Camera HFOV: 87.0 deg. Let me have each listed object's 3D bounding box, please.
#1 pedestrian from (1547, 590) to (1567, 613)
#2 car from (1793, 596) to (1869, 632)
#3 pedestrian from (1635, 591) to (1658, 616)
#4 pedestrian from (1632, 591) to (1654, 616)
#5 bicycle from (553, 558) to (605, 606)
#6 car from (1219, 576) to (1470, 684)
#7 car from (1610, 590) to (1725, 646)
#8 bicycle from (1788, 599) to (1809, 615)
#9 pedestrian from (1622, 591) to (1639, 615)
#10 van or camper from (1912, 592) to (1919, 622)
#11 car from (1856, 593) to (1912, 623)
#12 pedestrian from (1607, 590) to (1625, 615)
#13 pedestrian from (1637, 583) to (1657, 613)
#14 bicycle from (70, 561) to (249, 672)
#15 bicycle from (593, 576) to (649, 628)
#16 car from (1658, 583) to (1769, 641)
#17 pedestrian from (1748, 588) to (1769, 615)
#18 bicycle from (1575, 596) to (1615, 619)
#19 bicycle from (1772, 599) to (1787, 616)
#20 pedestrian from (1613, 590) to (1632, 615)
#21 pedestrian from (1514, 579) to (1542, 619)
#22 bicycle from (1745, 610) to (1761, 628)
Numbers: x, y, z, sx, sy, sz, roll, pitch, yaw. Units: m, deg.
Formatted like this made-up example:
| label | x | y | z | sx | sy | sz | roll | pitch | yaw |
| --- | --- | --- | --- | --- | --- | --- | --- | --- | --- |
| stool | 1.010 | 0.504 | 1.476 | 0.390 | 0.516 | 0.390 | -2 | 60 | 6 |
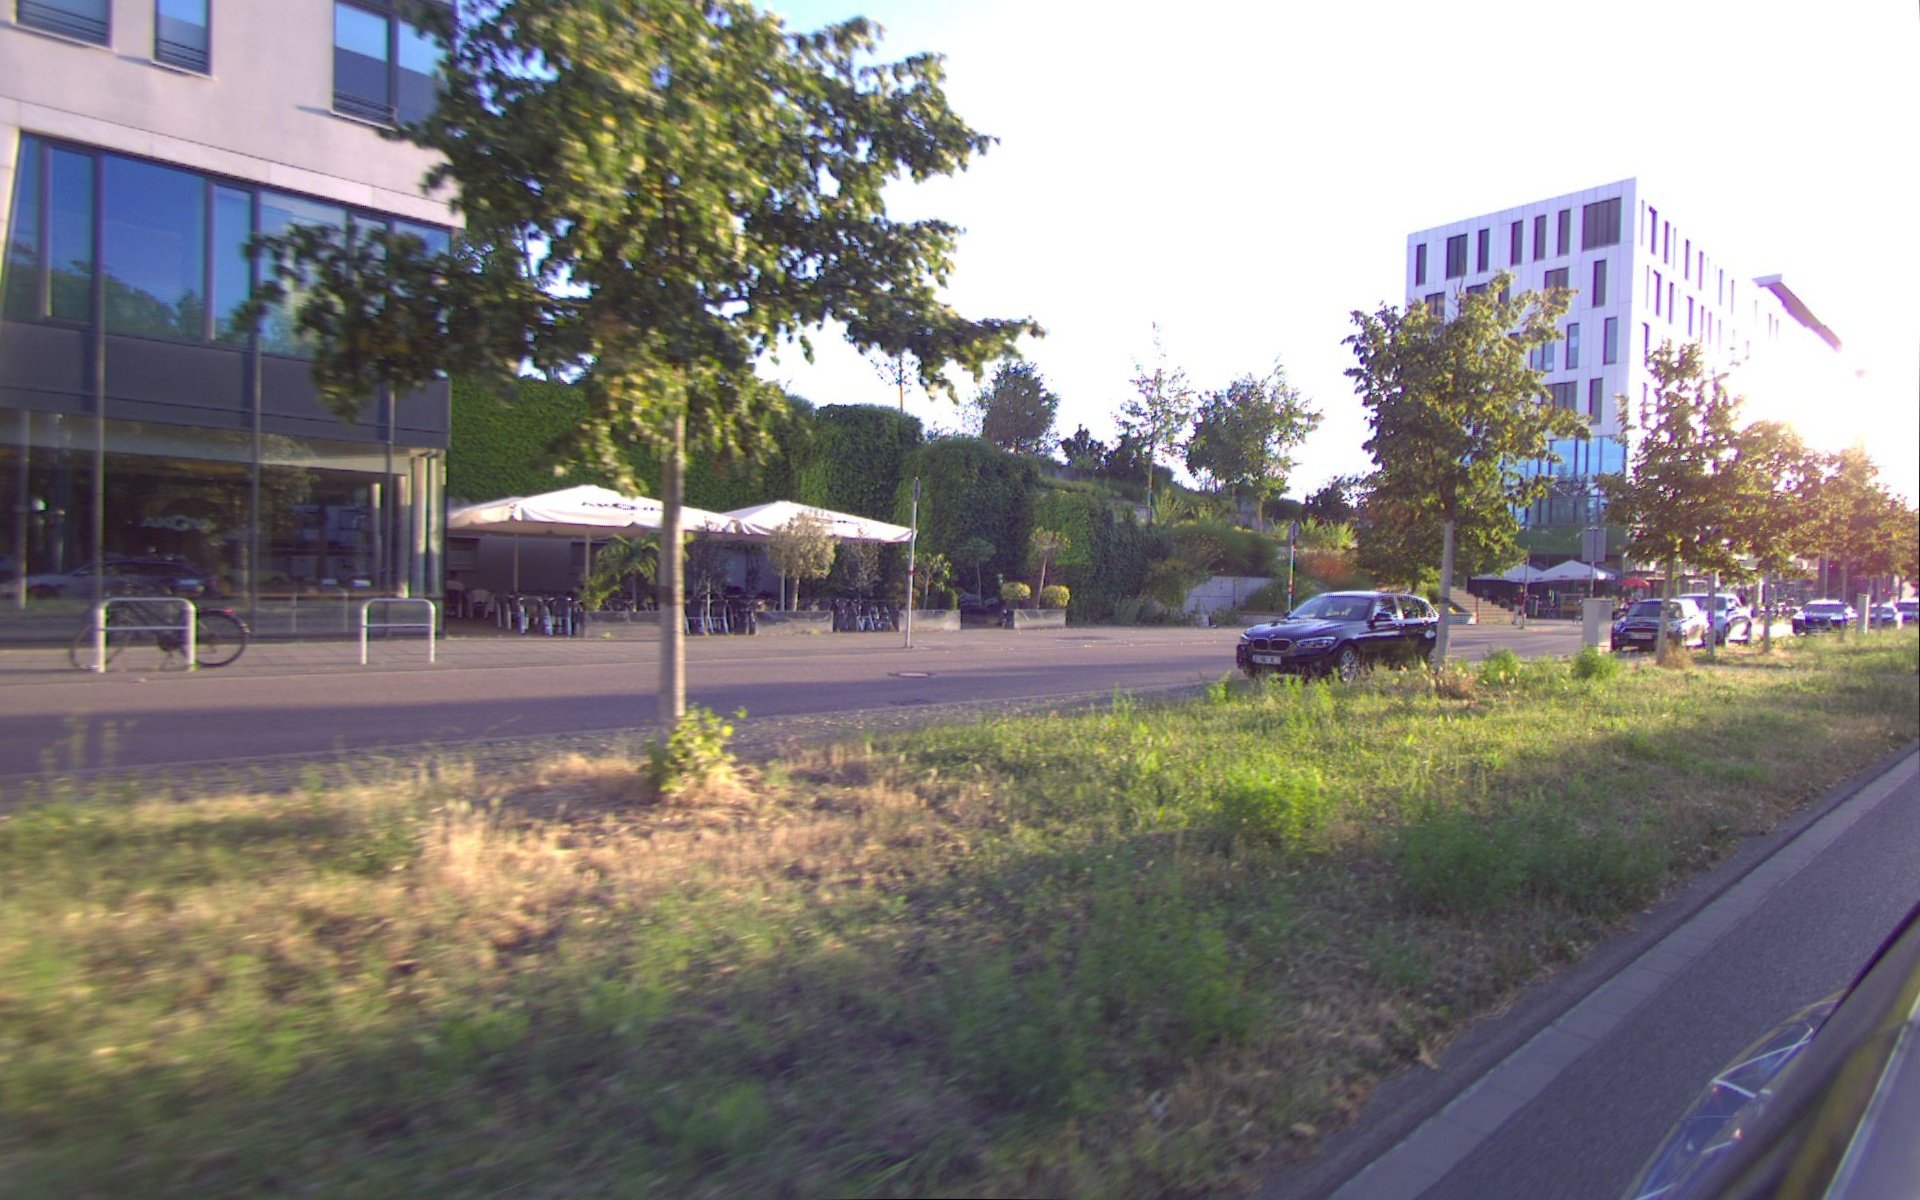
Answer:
| label | x | y | z | sx | sy | sz | roll | pitch | yaw |
| --- | --- | --- | --- | --- | --- | --- | --- | --- | --- |
| pedestrian | 33.977 | 0.082 | 57.576 | 0.757 | 1.281 | 0.744 | 1 | 1 | -40 |
| car | 39.636 | 0.615 | 45.997 | 5.317 | 1.519 | 1.923 | 0 | 1 | -42 |
| pedestrian | 38.100 | 0.197 | 56.173 | 0.671 | 1.306 | 0.778 | 1 | 3 | -34 |
| pedestrian | 37.560 | 0.186 | 55.660 | 0.671 | 1.306 | 0.783 | 1 | 3 | -34 |
| bicycle | -9.263 | -0.439 | 24.572 | 0.492 | 1.121 | 1.796 | 0 | 2 | -44 |
| car | 6.256 | 0.427 | 16.282 | 4.288 | 1.520 | 1.813 | 0 | 0 | -38 |
| car | 19.585 | 0.458 | 27.966 | 3.931 | 1.416 | 1.752 | 0 | 0 | -42 |
| bicycle | 60.823 | 0.501 | 73.409 | 1.879 | 1.053 | 0.532 | 2 | 2 | -30 |
| pedestrian | 37.652 | 0.151 | 56.822 | 0.681 | 1.306 | 0.621 | 4 | 3 | 36 |
| van or camper | 63.924 | 0.476 | 66.170 | 4.744 | 1.944 | 1.962 | 0 | -1 | -41 |
| car | 50.489 | 0.437 | 55.281 | 4.401 | 1.519 | 1.811 | 0 | 1 | -42 |
| pedestrian | 36.139 | 0.140 | 55.729 | 0.741 | 1.385 | 0.760 | 2 | 1 | 38 |
| pedestrian | 41.965 | -0.133 | 61.792 | 0.670 | 1.781 | 0.664 | 2 | 2 | -23 |
| bicycle | -9.563 | 0.175 | 12.128 | 1.642 | 1.246 | 0.618 | 0 | 1 | -43 |
| bicycle | -7.794 | 0.028 | 23.210 | 0.492 | 1.121 | 1.796 | 0 | 2 | -44 |
| car | 23.264 | 0.391 | 31.169 | 4.595 | 1.653 | 1.810 | 0 | -2 | -42 |
| pedestrian | 57.531 | 0.136 | 72.915 | 0.931 | 1.906 | 1.028 | 1 | 1 | -42 |
| bicycle | 29.587 | 0.344 | 47.156 | 1.872 | 1.056 | 0.546 | 1 | 1 | -22 |
| bicycle | 56.216 | 0.494 | 69.414 | 2.110 | 1.122 | 0.388 | 0 | 4 | -41 |
| pedestrian | 36.917 | 0.132 | 56.370 | 0.654 | 1.306 | 0.681 | 3 | 2 | 17 |
| pedestrian | 24.282 | -0.028 | 43.278 | 1.060 | 1.675 | 0.696 | 1 | 1 | -42 |
| bicycle | 49.950 | 1.179 | 63.718 | 0.596 | 1.053 | 2.041 | 5 | 3 | 42 |
